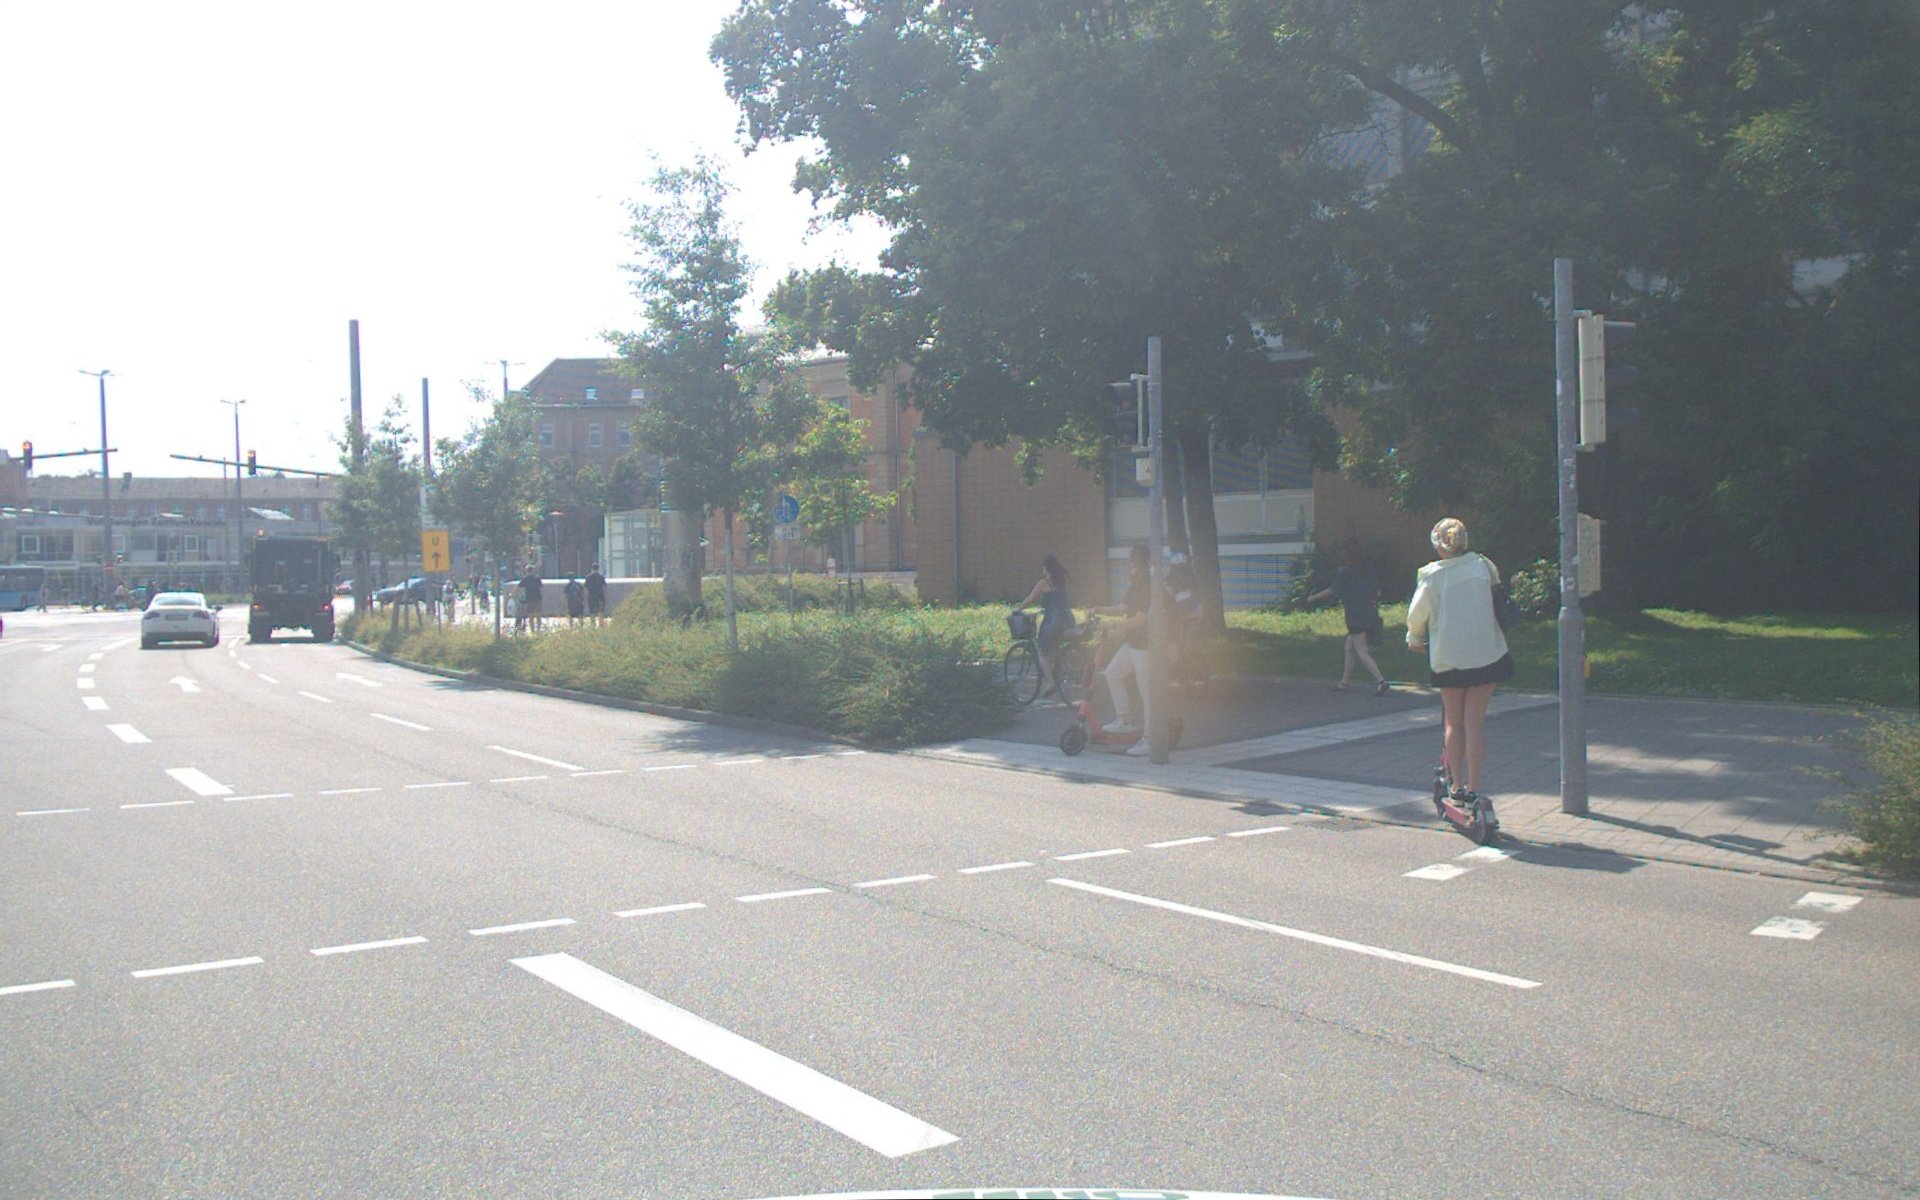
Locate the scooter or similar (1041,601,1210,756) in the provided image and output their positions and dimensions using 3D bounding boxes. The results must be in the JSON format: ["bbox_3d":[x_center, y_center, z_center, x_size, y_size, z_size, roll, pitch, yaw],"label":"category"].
[{"bbox_3d":[1.469,0.681,14.733,1.339,1.255,0.584,-3,2,-12],"label":"scooter or similar"}]

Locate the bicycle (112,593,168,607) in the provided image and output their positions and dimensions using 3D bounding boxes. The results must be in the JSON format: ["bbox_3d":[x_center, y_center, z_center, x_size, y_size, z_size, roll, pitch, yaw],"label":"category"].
[{"bbox_3d":[-49.632,0.003,100.106,2.920,0.740,0.851,-3,2,-43],"label":"bicycle"}]

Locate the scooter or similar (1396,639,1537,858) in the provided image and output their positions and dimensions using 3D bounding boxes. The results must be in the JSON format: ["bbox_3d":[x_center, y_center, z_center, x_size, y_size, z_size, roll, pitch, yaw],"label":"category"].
[{"bbox_3d":[3.086,0.854,10.211,0.544,1.078,2.006,-1,3,9],"label":"scooter or similar"}]

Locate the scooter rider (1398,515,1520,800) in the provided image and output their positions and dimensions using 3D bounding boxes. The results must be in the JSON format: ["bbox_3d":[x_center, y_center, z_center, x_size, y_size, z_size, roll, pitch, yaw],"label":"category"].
[{"bbox_3d":[3.105,0.339,10.339,0.656,1.729,0.540,0,2,9],"label":"scooter rider"}]

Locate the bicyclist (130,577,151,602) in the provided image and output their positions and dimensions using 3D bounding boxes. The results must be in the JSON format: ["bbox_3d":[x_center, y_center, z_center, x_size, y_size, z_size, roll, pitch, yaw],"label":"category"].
[{"bbox_3d":[-49.627,-0.635,100.110,0.899,1.527,0.851,-2,1,-42],"label":"bicyclist"}]

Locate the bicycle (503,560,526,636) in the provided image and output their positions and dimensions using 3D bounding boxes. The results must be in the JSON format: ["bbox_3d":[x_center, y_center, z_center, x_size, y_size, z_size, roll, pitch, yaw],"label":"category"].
[{"bbox_3d":[-11.349,-0.076,42.166,0.447,1.892,1.359,-1,1,-12],"label":"bicycle"}]

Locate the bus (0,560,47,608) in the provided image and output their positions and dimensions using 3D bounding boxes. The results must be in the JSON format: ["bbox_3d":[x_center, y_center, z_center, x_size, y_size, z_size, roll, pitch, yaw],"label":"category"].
[{"bbox_3d":[-61.880,-0.995,104.595,2.995,2.982,11.836,-1,1,-7],"label":"bus"}]

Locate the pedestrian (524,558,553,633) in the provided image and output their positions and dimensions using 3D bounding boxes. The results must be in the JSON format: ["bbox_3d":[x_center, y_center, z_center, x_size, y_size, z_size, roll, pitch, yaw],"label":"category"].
[{"bbox_3d":[-10.838,-0.114,42.550,0.648,1.892,0.791,-2,1,-11],"label":"pedestrian"}]

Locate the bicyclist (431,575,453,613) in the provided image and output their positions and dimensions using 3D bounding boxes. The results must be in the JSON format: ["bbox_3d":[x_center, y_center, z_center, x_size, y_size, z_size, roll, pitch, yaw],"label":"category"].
[{"bbox_3d":[-18.649,-0.229,59.559,0.665,1.343,0.679,-2,1,-23],"label":"bicyclist"}]

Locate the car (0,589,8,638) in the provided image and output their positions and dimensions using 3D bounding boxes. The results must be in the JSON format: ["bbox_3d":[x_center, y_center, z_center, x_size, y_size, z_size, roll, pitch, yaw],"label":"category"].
[{"bbox_3d":[-29.199,0.432,48.254,1.732,1.428,3.958,-1,1,-19],"label":"car"}]

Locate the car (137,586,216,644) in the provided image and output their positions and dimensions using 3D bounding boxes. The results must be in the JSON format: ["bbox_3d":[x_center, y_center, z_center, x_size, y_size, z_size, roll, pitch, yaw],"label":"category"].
[{"bbox_3d":[-21.698,0.386,45.924,1.734,1.480,4.395,-1,1,-23],"label":"car"}]

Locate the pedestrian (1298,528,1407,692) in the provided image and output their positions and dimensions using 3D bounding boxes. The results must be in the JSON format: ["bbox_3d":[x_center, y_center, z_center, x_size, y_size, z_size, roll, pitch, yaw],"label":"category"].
[{"bbox_3d":[4.342,0.094,18.317,0.700,1.734,0.868,-4,2,-35],"label":"pedestrian"}]

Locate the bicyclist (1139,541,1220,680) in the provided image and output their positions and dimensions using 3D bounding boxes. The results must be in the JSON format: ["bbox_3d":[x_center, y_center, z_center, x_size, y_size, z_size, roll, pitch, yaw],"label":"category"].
[{"bbox_3d":[2.516,0.109,19.006,0.541,1.521,0.799,-5,3,-19],"label":"bicyclist"}]

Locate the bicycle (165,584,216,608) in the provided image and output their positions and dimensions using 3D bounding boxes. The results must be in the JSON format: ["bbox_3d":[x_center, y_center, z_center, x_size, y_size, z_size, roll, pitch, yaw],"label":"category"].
[{"bbox_3d":[-38.678,-0.203,83.115,2.773,1.199,0.972,0,1,34],"label":"bicycle"}]

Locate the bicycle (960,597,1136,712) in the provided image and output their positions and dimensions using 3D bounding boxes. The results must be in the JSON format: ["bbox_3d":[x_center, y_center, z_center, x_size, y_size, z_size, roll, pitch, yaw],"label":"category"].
[{"bbox_3d":[0.958,0.577,18.714,0.688,1.174,2.343,-4,3,-34],"label":"bicycle"}]

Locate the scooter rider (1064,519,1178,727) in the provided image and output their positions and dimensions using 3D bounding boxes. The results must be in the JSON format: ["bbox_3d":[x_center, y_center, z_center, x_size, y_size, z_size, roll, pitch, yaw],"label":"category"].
[{"bbox_3d":[1.418,0.186,14.656,0.788,1.769,0.687,-2,1,-12],"label":"scooter rider"}]

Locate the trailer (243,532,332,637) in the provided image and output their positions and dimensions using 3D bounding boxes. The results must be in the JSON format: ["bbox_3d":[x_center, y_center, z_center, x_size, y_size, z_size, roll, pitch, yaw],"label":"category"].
[{"bbox_3d":[-21.084,-0.497,51.911,2.429,3.060,6.283,0,1,-22],"label":"trailer"}]

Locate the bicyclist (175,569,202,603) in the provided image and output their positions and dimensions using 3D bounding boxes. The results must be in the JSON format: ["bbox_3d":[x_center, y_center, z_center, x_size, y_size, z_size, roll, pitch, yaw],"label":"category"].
[{"bbox_3d":[-38.792,-0.685,83.162,0.648,1.682,0.972,-1,1,33],"label":"bicyclist"}]

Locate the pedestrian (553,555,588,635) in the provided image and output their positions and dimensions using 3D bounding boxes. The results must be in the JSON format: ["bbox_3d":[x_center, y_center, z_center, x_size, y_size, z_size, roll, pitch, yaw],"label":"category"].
[{"bbox_3d":[-10.034,-0.140,42.621,0.763,2.007,0.752,-1,1,-9],"label":"pedestrian"}]

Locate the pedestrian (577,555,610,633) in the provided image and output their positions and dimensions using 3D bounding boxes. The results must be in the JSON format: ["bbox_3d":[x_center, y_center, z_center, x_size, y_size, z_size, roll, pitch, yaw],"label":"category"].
[{"bbox_3d":[-9.641,-0.163,43.539,0.763,2.007,0.752,-1,1,-9],"label":"pedestrian"}]

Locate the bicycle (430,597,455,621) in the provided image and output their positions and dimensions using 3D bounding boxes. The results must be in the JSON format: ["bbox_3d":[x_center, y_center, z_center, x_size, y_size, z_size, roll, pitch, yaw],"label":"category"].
[{"bbox_3d":[-18.681,0.324,59.673,0.665,0.790,2.113,-2,1,-22],"label":"bicycle"}]

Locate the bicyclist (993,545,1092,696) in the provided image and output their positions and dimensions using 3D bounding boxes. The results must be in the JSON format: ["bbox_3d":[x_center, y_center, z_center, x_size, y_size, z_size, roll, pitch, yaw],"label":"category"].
[{"bbox_3d":[0.926,0.221,18.725,0.684,1.626,0.834,-5,3,-34],"label":"bicyclist"}]

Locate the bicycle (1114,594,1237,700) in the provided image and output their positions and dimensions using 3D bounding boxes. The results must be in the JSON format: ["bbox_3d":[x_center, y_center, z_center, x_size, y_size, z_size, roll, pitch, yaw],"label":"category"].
[{"bbox_3d":[2.475,0.511,19.221,0.548,1.078,1.993,-5,3,-19],"label":"bicycle"}]
